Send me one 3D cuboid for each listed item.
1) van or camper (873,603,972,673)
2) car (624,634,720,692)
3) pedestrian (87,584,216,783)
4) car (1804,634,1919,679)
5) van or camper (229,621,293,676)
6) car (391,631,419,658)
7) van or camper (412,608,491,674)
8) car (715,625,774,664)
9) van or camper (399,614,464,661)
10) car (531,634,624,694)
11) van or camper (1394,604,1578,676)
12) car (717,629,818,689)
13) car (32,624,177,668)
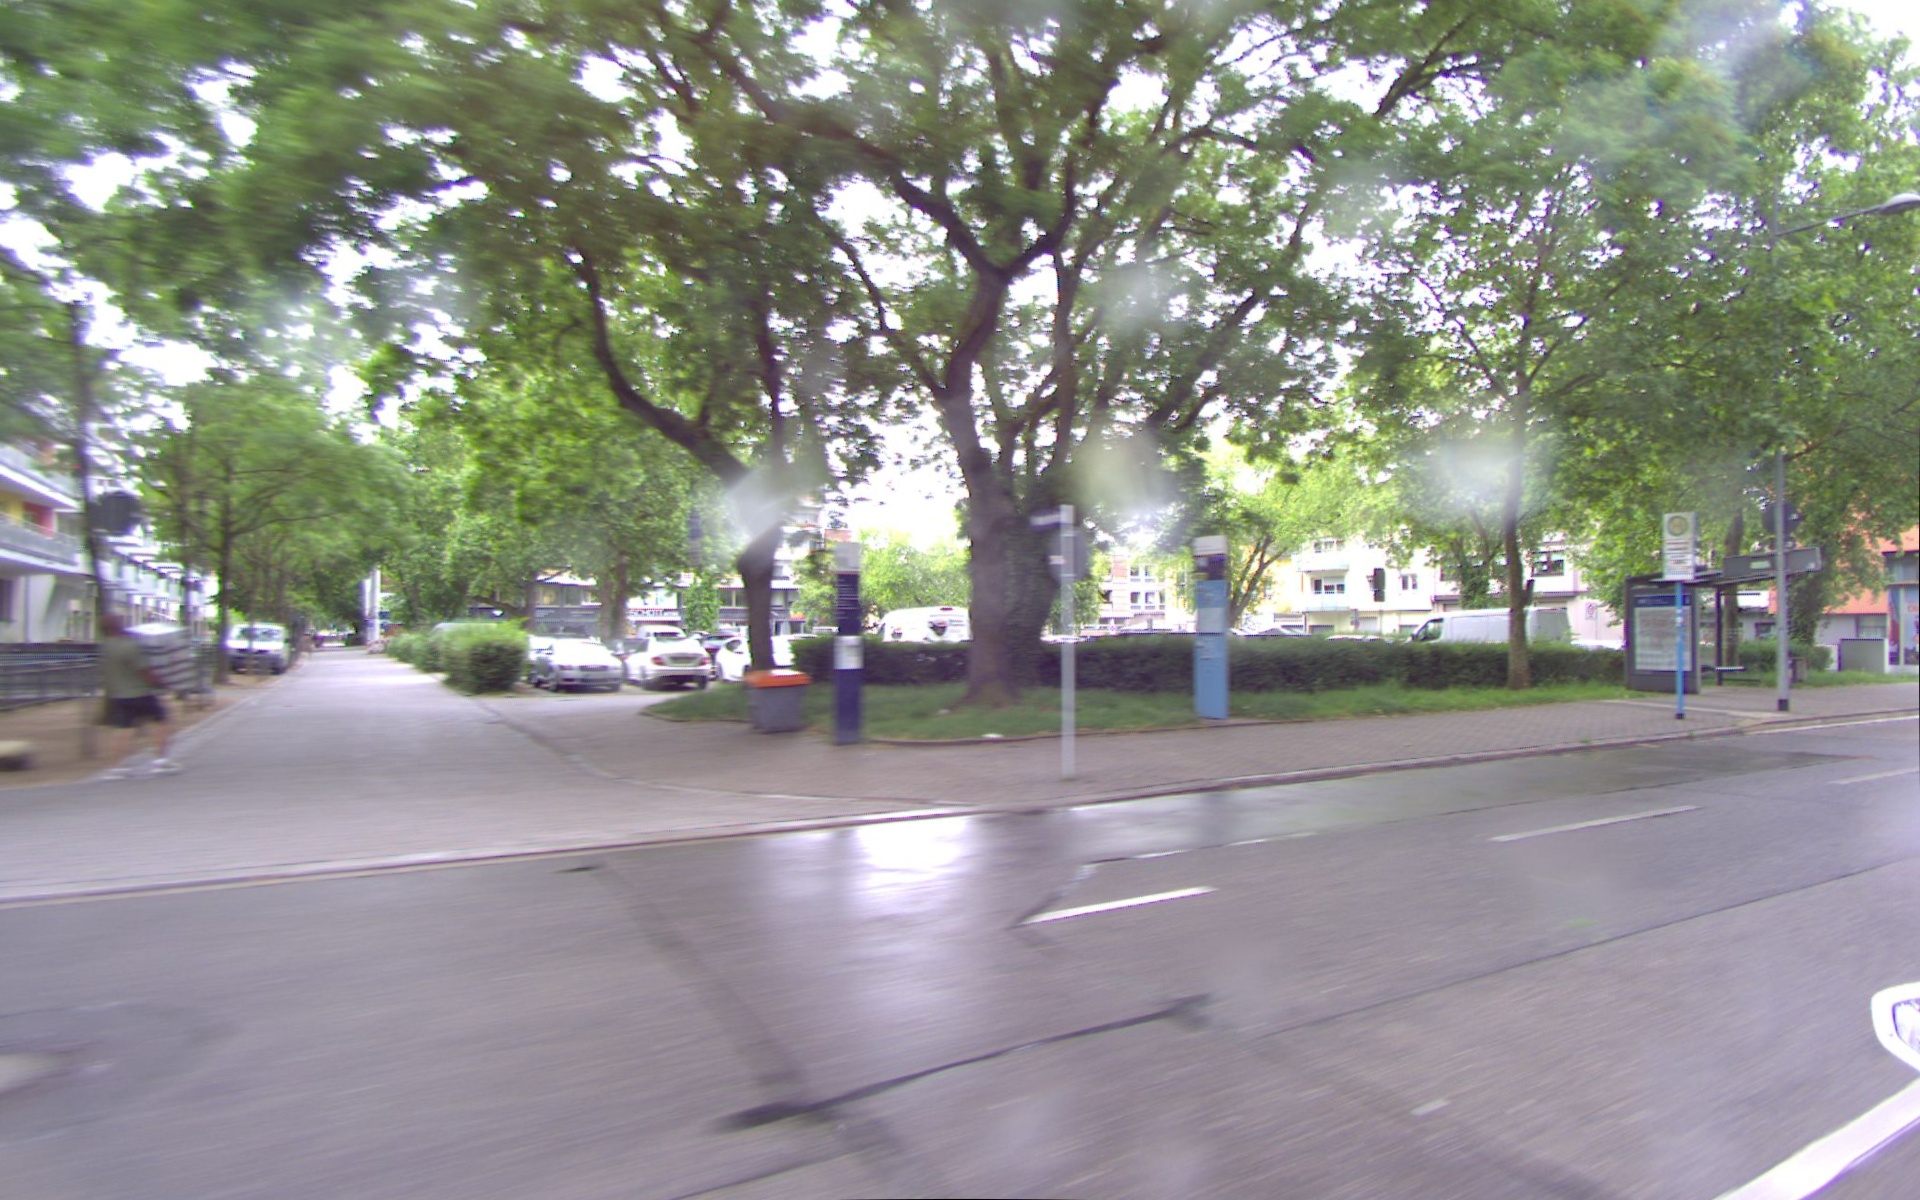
[{"bbox_3d":[-1.488,1.418,37.871,2.074,2.463,4.310,1,-2,-28],"label":"van or camper"},{"bbox_3d":[-8.226,1.716,28.482,1.841,1.483,3.971,1,-2,-28],"label":"car"},{"bbox_3d":[-8.372,0.835,10.447,0.808,1.950,0.914,1,-1,-25],"label":"pedestrian"},{"bbox_3d":[34.971,2.129,38.372,4.075,1.647,1.843,-2,-3,39],"label":"car"},{"bbox_3d":[-27.935,1.935,40.257,1.807,2.039,4.597,3,-4,-32],"label":"van or camper"},{"bbox_3d":[-36.812,2.928,66.645,1.506,1.568,3.844,1,0,-28],"label":"car"},{"bbox_3d":[-21.185,1.654,41.604,2.532,2.433,8.587,1,-2,-29],"label":"van or camper"},{"bbox_3d":[-10.826,2.219,50.336,1.782,1.848,3.968,1,-2,-30],"label":"car"},{"bbox_3d":[-29.607,2.056,56.091,2.912,2.433,8.585,1,-2,-30],"label":"van or camper"},{"bbox_3d":[-10.399,1.676,27.207,1.841,1.483,3.614,1,-2,-29],"label":"car"},{"bbox_3d":[15.678,1.176,30.195,1.978,1.975,4.572,1,-2,-32],"label":"van or camper"},{"bbox_3d":[-5.748,1.681,29.653,1.841,1.647,4.022,1,-2,-28],"label":"car"},{"bbox_3d":[-33.100,1.762,39.009,3.953,1.617,1.768,1,-2,-30],"label":"car"}]
